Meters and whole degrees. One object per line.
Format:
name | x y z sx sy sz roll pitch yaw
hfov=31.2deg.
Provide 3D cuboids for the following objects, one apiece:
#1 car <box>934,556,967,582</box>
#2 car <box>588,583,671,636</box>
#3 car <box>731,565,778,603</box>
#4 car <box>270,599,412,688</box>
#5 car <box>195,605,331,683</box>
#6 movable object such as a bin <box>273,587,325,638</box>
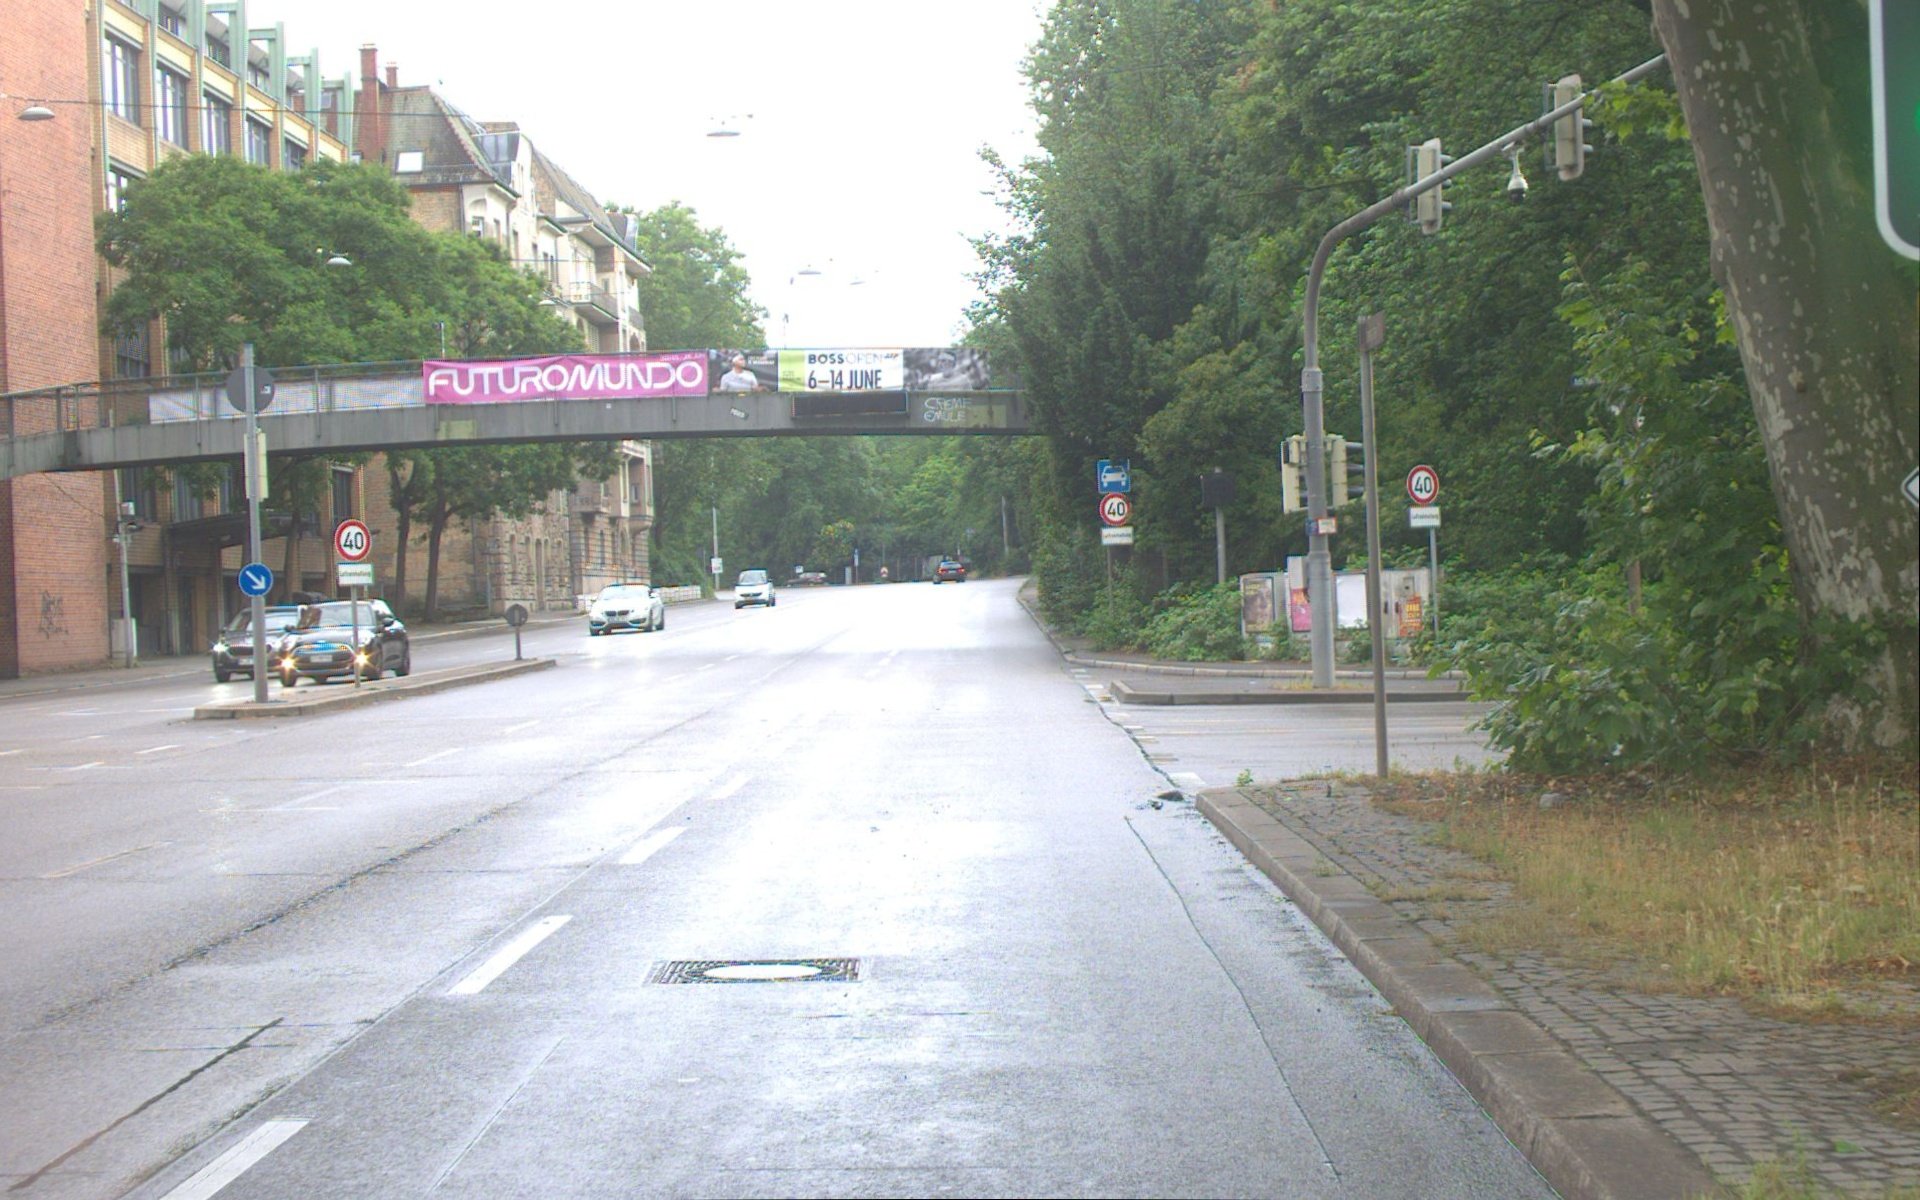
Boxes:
car | -0.636 -2.023 225.531 2.004 1.638 4.376 -2 0 -2
car | -9.466 0.261 98.827 1.830 1.389 4.405 -3 0 1
car | -8.599 -0.670 143.995 1.600 1.494 3.711 -3 0 1
car | -10.755 0.735 59.967 1.683 1.431 3.862 -2 0 1
car | -13.963 0.862 69.049 1.709 1.459 4.041 -2 0 3
movable object such as a bin | -20.328 0.376 105.751 1.282 1.513 1.273 -2 0 1
